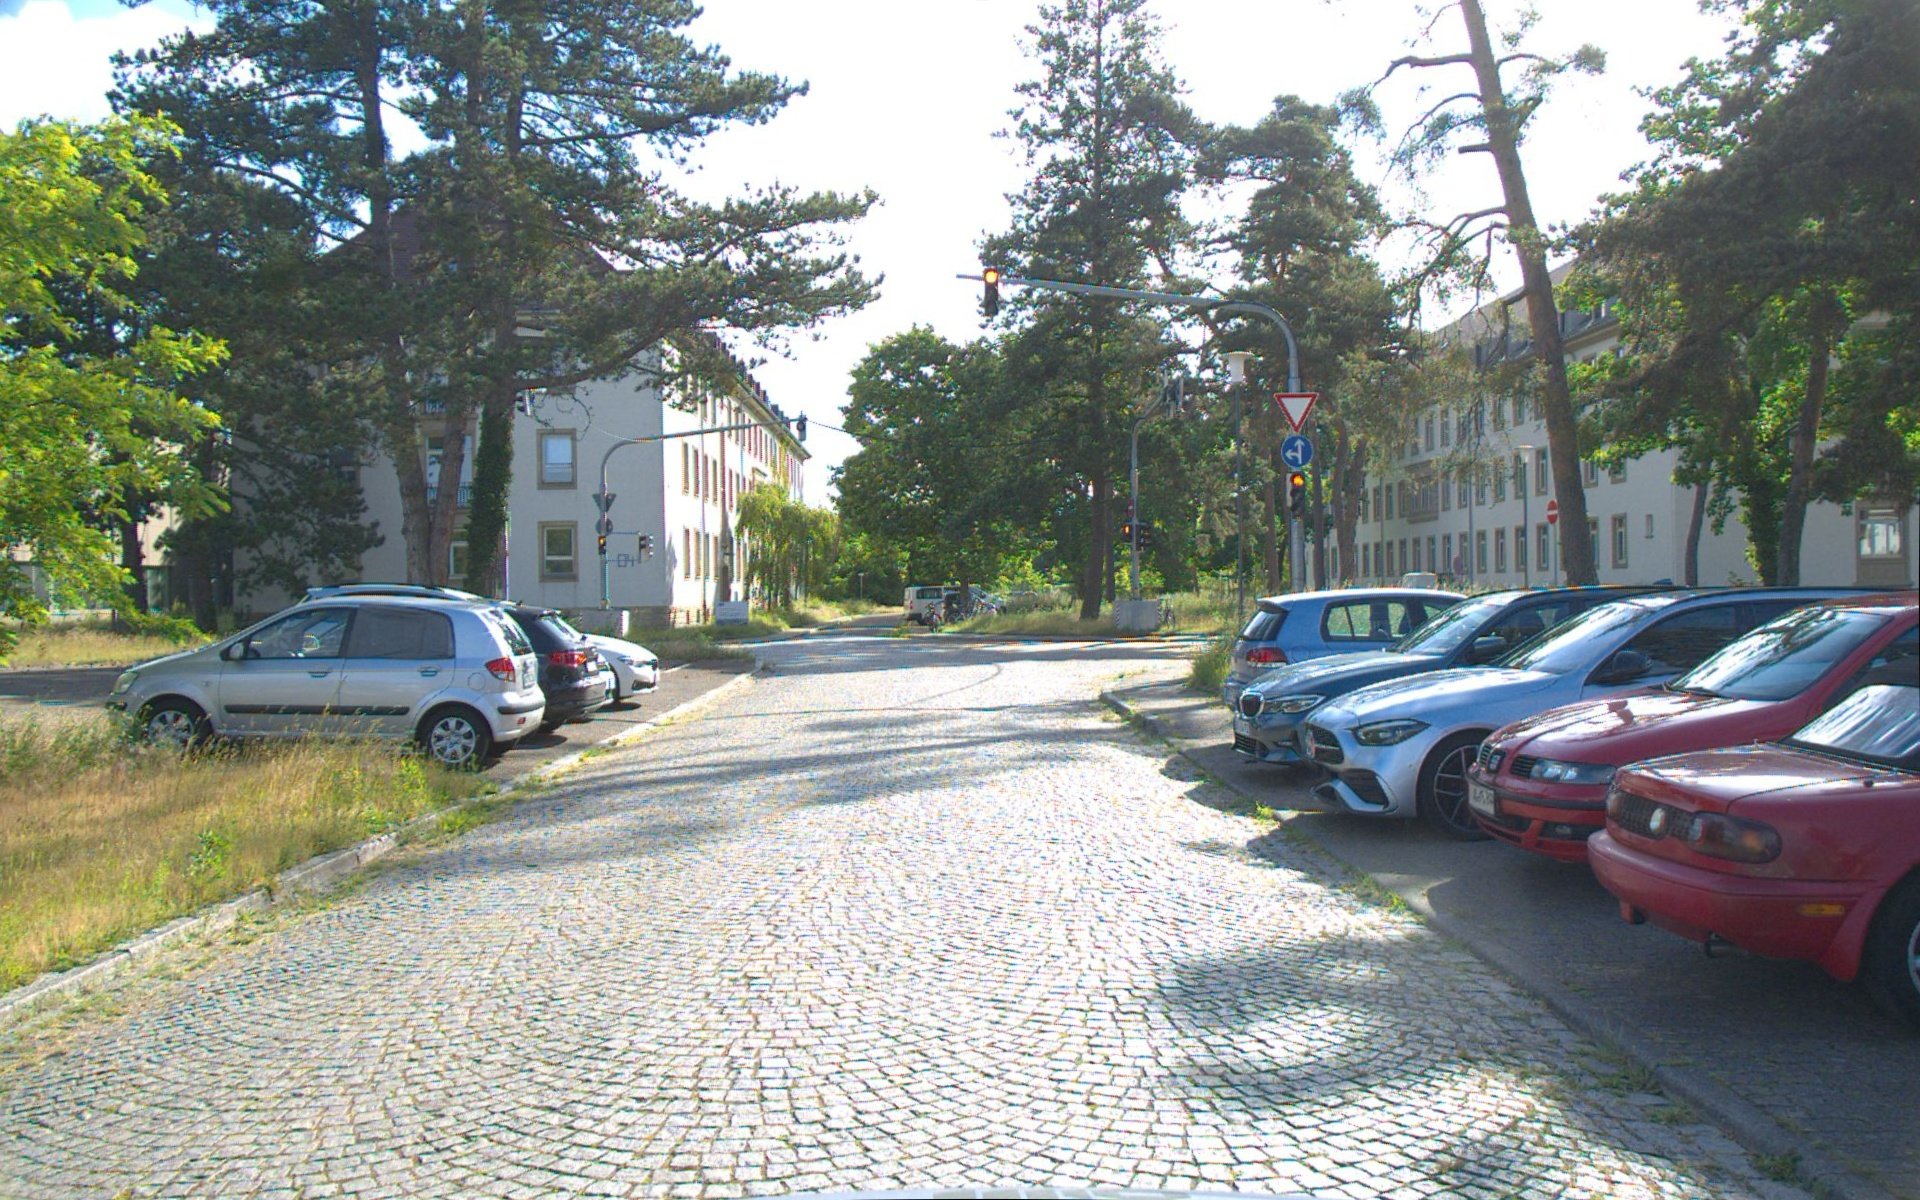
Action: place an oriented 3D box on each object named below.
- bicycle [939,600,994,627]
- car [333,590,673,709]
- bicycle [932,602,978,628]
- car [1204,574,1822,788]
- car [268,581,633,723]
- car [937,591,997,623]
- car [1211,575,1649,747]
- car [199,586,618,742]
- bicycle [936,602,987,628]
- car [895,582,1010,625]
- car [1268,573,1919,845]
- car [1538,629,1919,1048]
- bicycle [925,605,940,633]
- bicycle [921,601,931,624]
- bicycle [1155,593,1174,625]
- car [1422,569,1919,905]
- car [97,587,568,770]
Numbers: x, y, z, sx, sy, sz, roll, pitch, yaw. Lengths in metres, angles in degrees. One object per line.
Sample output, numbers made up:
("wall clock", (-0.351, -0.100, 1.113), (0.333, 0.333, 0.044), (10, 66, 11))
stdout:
("bicycle", (0.246, 0.543, 65.084), (2.070, 1.028, 0.620), (1, -1, -9))
("car", (-6.267, 0.664, 23.086), (4.248, 1.494, 1.829), (1, 1, -4))
("bicycle", (-0.220, 0.608, 68.544), (1.803, 1.028, 0.635), (1, -1, -9))
("car", (4.368, 0.609, 13.507), (4.467, 1.440, 1.636), (-3, 1, -1))
("car", (-6.266, 0.617, 20.738), (4.000, 1.621, 1.884), (1, 1, -4))
("car", (0.340, 0.330, 79.560), (2.728, 1.492, 1.669), (1, 0, -6))
("car", (4.522, 0.562, 16.289), (3.803, 1.440, 1.636), (-3, 1, -1))
("car", (-5.797, 0.654, 17.786), (3.908, 1.506, 1.802), (1, 1, -4))
("bicycle", (0.055, 0.604, 66.793), (1.967, 1.028, 0.631), (1, -1, -9))
("car", (-0.378, 0.180, 83.135), (5.438, 2.049, 1.989), (1, -1, -19))
("car", (4.366, 0.637, 10.791), (4.342, 1.440, 1.781), (-3, 1, -1))
("car", (4.342, 0.755, 6.308), (3.632, 1.244, 1.746), (-3, 1, 0))
("bicycle", (-1.013, 0.690, 61.445), (0.458, 1.028, 1.584), (1, 0, -4))
("bicycle", (-1.518, 0.579, 74.706), (0.409, 1.028, 1.483), (1, 0, 0))
("bicycle", (6.564, 0.288, 53.099), (0.294, 0.977, 1.584), (1, 0, -4))
("car", (4.693, 0.611, 8.676), (4.043, 1.474, 1.636), (-3, 1, -1))
("car", (-5.615, 0.684, 15.158), (3.672, 1.513, 1.644), (1, 1, -4))
